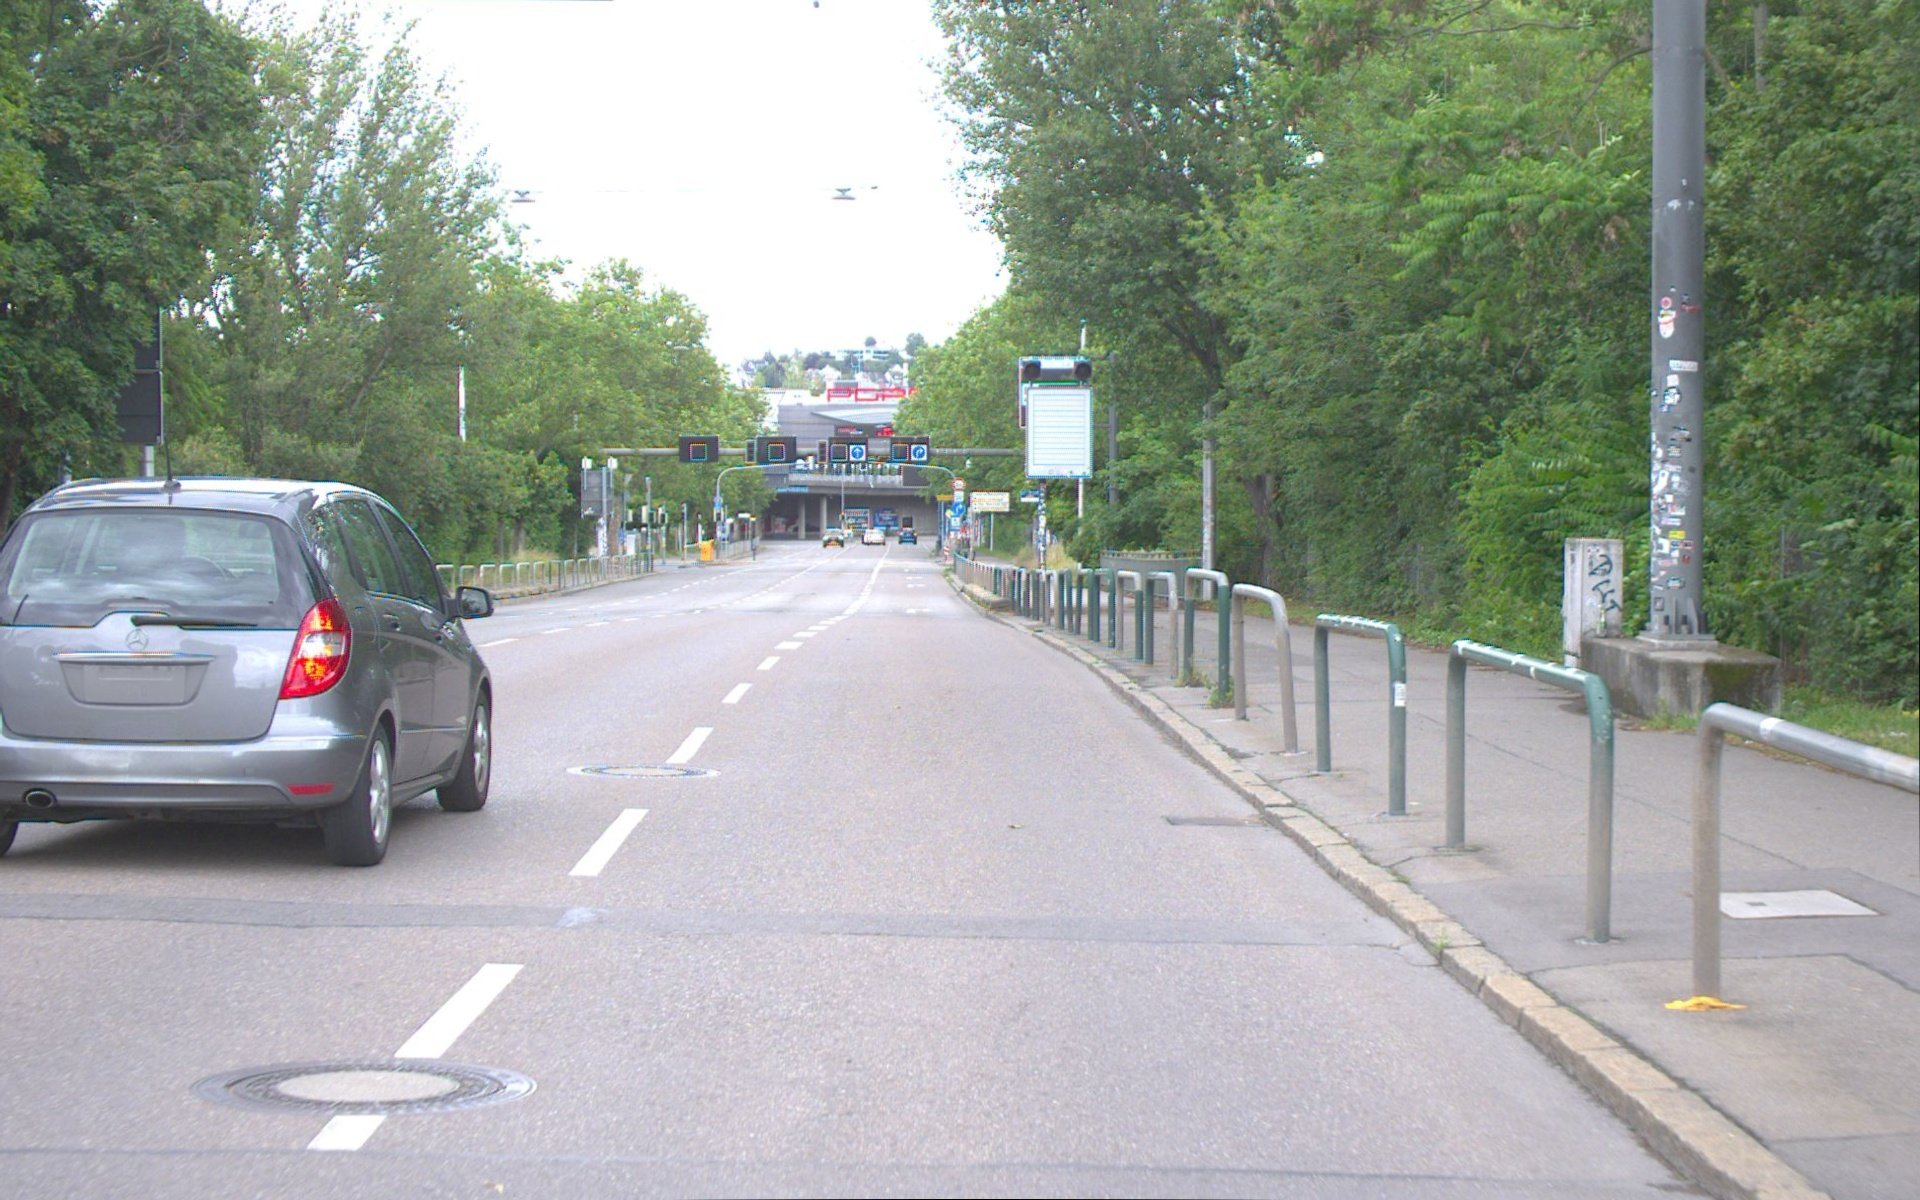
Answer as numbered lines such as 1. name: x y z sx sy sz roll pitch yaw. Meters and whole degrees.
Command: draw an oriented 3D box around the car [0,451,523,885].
1. car: -3.169 0.242 15.140 1.826 1.611 4.034 2 0 2
